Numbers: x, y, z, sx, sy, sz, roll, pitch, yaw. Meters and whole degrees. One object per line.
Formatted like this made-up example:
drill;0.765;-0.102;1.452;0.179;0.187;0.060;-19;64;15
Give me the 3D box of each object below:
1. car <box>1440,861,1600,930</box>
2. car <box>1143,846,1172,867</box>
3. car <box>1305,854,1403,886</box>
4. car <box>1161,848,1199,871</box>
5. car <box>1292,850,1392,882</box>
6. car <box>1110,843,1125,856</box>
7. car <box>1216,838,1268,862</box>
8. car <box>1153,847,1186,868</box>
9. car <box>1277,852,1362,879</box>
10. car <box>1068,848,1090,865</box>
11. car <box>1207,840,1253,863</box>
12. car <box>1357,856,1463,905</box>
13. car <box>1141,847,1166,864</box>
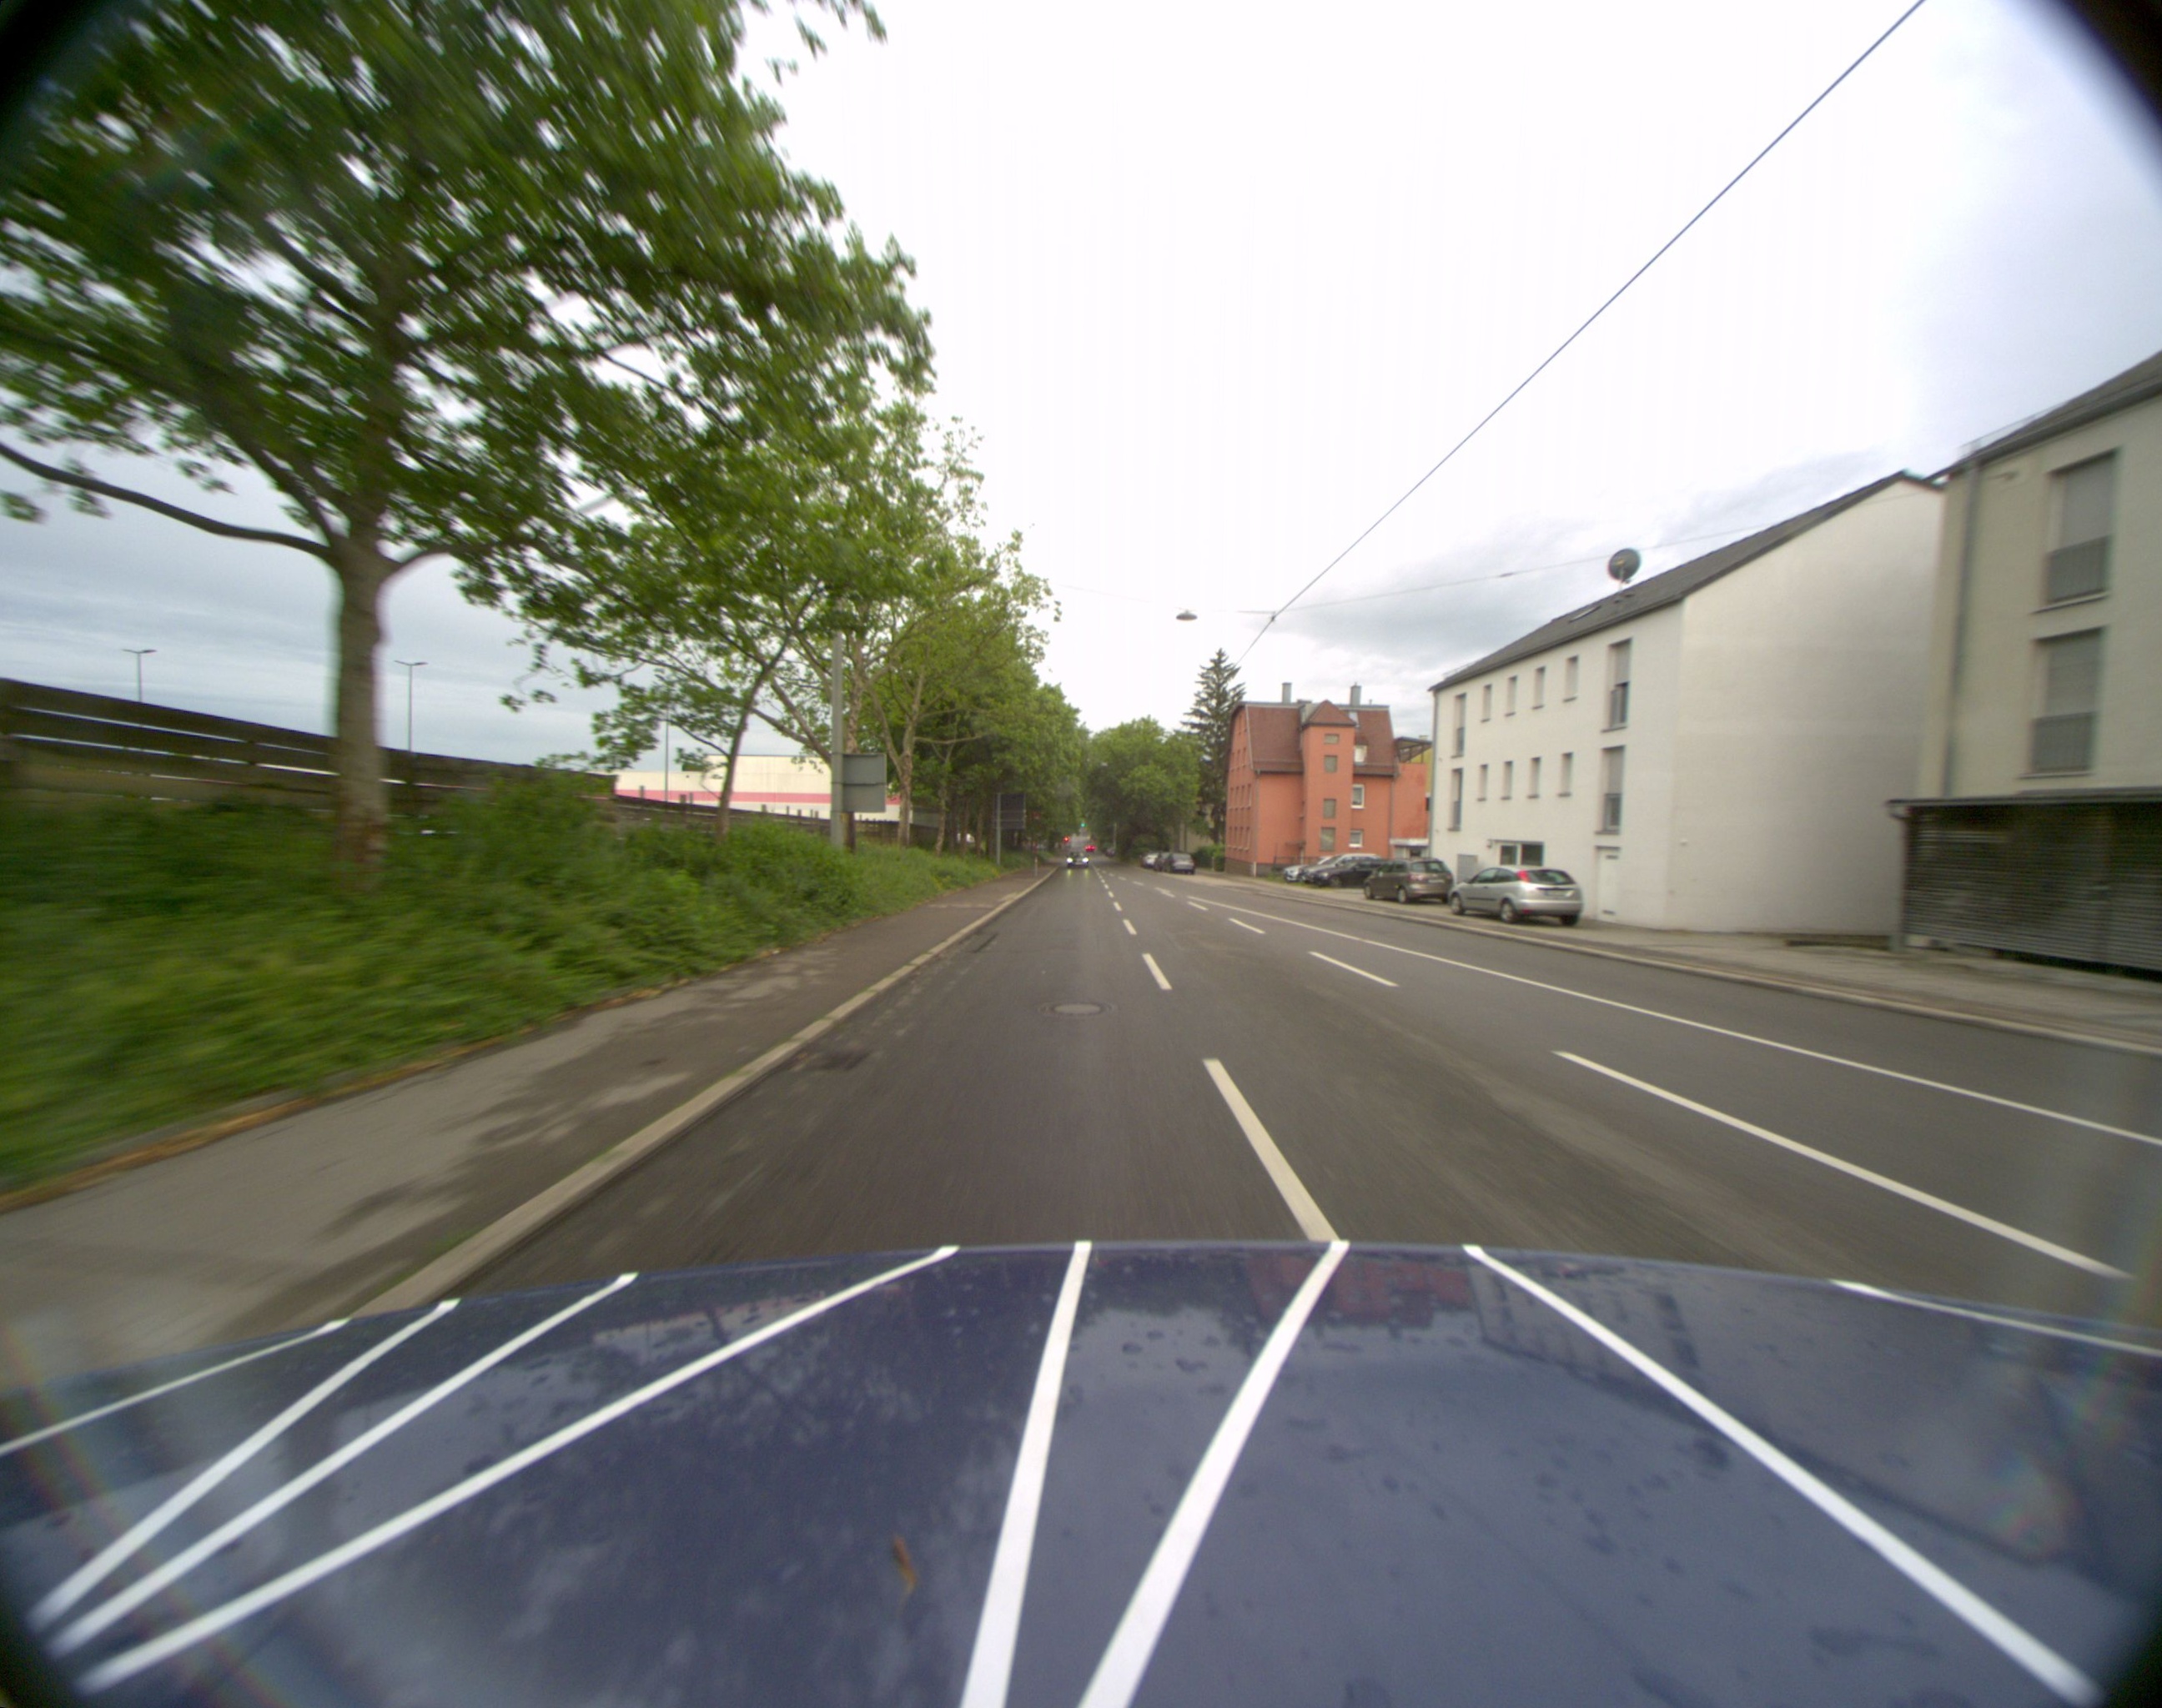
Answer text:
car;11.409;1.007;20.131;1.749;1.499;4.177;2;1;0
car;6.318;0.141;63.270;1.816;1.537;4.198;5;1;0
car;13.366;0.768;37.349;4.136;1.455;1.895;0;1;1
car;6.760;0.351;52.085;1.789;1.402;4.197;3;1;-3
car;13.679;0.590;40.047;4.542;1.599;2.153;0;1;2
car;5.039;-0.661;105.606;1.842;1.631;4.193;2;1;0
car;13.865;-0.393;65.562;3.997;2.002;1.999;0;1;-2
car;6.580;0.267;56.898;1.817;1.443;4.197;2;1;-2
car;13.298;0.647;42.550;4.172;1.425;2.000;0;1;2
car;-0.166;0.194;66.782;1.842;1.403;3.999;2;1;0
car;13.593;-0.246;69.382;3.994;2.002;2.001;1;1;7
car;11.604;0.877;27.106;1.750;1.543;4.081;-1;1;-4
car;6.515;0.130;68.863;1.816;1.425;4.198;2;1;0
